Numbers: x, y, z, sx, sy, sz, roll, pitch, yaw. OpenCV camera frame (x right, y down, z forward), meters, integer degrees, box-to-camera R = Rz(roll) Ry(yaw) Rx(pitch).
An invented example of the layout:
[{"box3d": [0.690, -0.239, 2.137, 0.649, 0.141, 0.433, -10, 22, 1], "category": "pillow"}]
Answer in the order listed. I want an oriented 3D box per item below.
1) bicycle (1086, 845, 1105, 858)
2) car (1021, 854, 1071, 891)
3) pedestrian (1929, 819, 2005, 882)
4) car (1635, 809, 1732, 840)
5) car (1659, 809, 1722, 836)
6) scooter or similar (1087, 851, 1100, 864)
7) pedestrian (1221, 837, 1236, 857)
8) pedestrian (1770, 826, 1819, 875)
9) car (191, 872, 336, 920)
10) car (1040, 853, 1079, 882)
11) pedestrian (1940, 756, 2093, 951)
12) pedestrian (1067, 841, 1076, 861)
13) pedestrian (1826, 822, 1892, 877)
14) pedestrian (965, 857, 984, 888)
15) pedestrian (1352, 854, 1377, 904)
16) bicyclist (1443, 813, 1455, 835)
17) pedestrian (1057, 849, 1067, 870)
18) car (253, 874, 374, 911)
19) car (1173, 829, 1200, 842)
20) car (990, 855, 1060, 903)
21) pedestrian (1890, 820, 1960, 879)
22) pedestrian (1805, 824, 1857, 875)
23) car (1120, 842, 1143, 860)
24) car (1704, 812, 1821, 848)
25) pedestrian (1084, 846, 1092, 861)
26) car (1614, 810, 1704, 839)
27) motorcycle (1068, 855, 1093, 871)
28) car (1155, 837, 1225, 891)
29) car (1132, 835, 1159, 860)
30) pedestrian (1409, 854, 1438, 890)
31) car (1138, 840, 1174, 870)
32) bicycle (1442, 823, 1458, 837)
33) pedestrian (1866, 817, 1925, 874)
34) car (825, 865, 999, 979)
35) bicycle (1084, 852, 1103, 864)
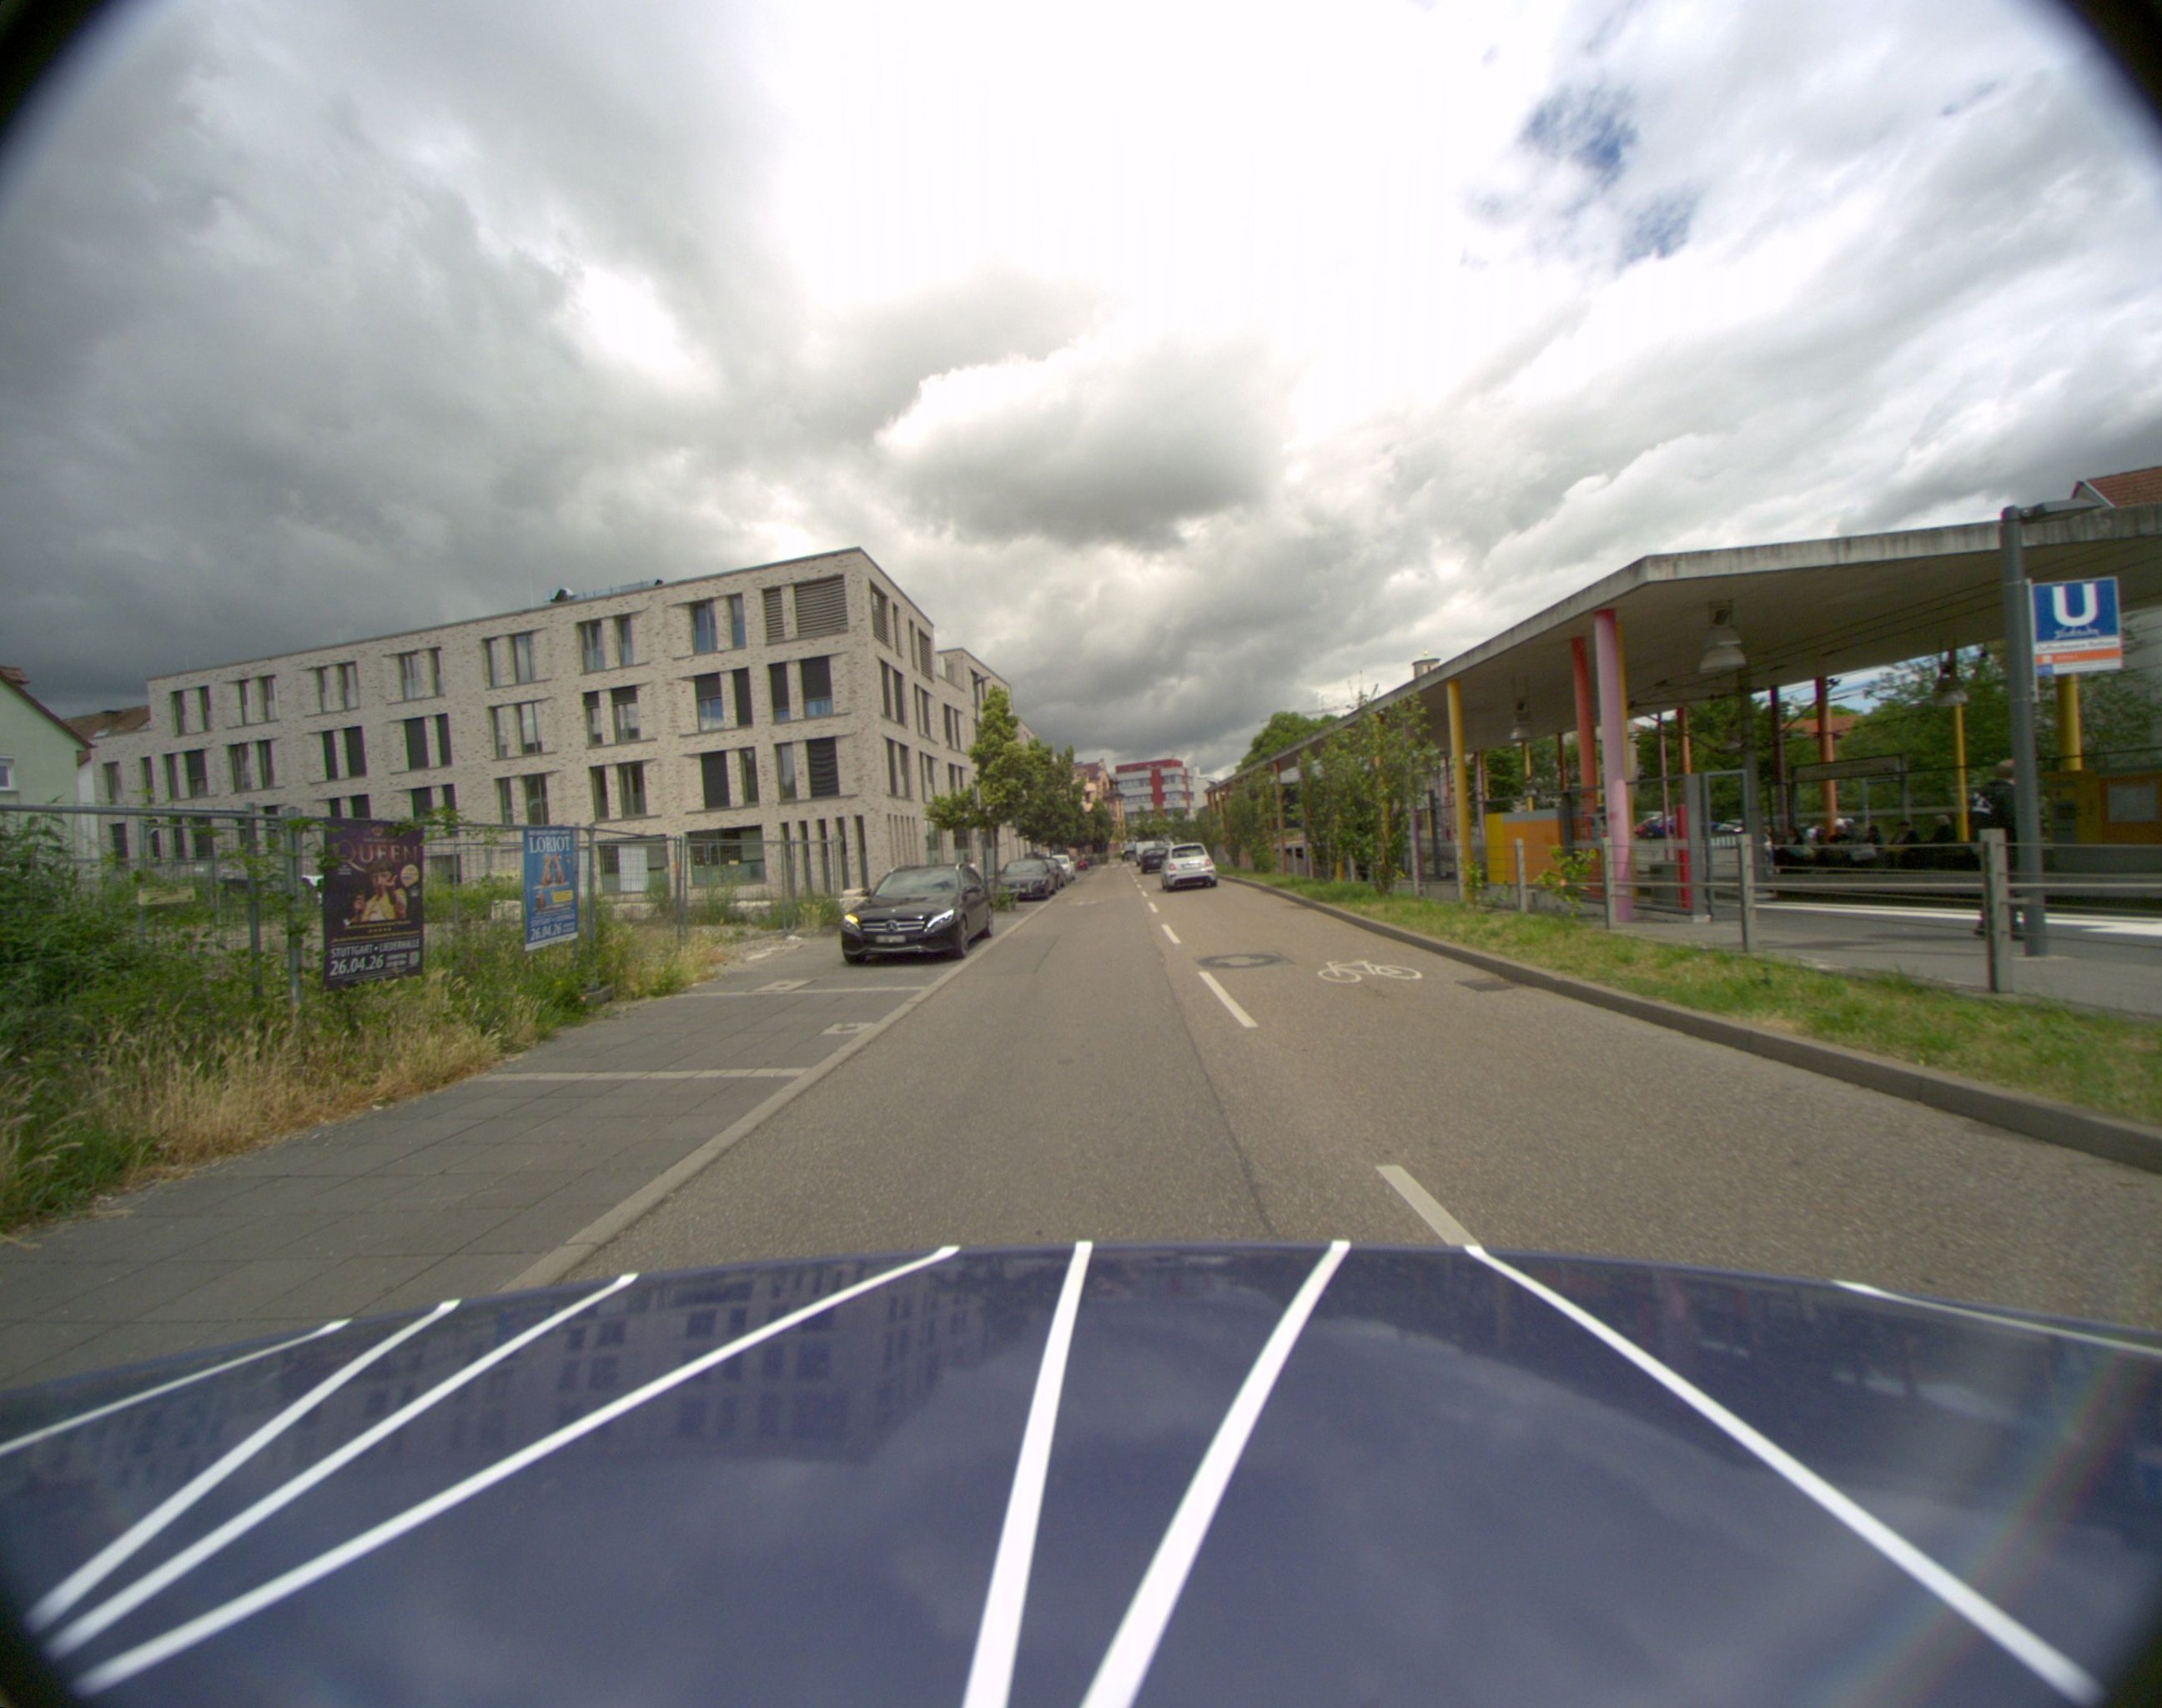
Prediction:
[{"box3d": [1.485, -0.263, 79.875, 1.826, 1.194, 0.756, -3, 2, 10], "category": "bicycle"}, {"box3d": [-1.536, 0.780, 34.584, 1.696, 1.452, 4.147, -3, 0, 5], "category": "car"}, {"box3d": [20.706, -0.066, 17.768, 0.824, 1.371, 0.702, -6, 0, 4], "category": "pedestrian"}, {"box3d": [34.575, -1.713, 43.710, 3.992, 1.393, 1.571, -5, 2, 18], "category": "car"}, {"box3d": [42.048, -2.218, 52.501, 1.911, 1.566, 4.002, -5, 2, 16], "category": "car"}, {"box3d": [1.226, 0.320, 76.893, 1.198, 1.243, 0.494, -3, 2, 10], "category": "scooter or similar"}, {"box3d": [11.912, -0.556, 61.295, 0.929, 1.556, 0.815, -6, 3, 1], "category": "pedestrian"}, {"box3d": [21.281, -0.101, 22.665, 0.687, 1.371, 0.705, -6, 0, 4], "category": "pedestrian"}, {"box3d": [-29.750, 1.516, 27.677, 4.252, 1.596, 1.871, -1, 0, 17], "category": "car"}, {"box3d": [-1.191, 0.751, 43.669, 1.696, 1.475, 3.798, -3, 0, 5], "category": "car"}, {"box3d": [9.389, 0.005, 7.671, 0.782, 1.834, 0.737, -6, -1, 45], "category": "pedestrian"}, {"box3d": [-0.828, -0.270, 66.307, 0.623, 1.757, 0.737, -4, 2, -1], "category": "pedestrian"}, {"box3d": [20.930, -0.115, 20.449, 0.929, 1.371, 0.702, -6, 0, 4], "category": "pedestrian"}, {"box3d": [-5.169, 0.889, 36.984, 0.608, 1.464, 0.791, -3, 1, 11], "category": "pedestrian"}, {"box3d": [10.801, 0.942, 28.974, 0.588, 1.820, 0.710, -5, 3, 5], "category": "pedestrian"}, {"box3d": [27.664, -2.238, 57.105, 0.485, 1.584, 0.681, -5, 3, 6], "category": "bicyclist"}, {"box3d": [-1.705, 0.487, 67.094, 0.757, 1.757, 0.734, -4, 2, -3], "category": "pedestrian"}, {"box3d": [-34.074, 1.697, 33.759, 4.253, 1.596, 1.872, -1, -2, 15], "category": "car"}, {"box3d": [17.115, -2.997, 123.448, 4.005, 1.653, 1.839, -7, 3, -35], "category": "car"}, {"box3d": [-1.903, 0.843, 27.406, 1.869, 1.442, 4.644, -3, 0, 3], "category": "car"}, {"box3d": [20.843, -0.109, 18.781, 0.824, 1.371, 0.702, -6, 0, 4], "category": "pedestrian"}, {"box3d": [21.286, -0.123, 21.581, 0.653, 1.371, 0.702, -6, 0, 4], "category": "pedestrian"}, {"box3d": [5.644, -0.352, 84.872, 1.802, 1.571, 4.002, -5, 2, 13], "category": "car"}, {"box3d": [33.553, -1.193, 37.525, 3.992, 1.330, 1.571, -5, 2, 18], "category": "car"}, {"box3d": [0.824, -0.038, 89.389, 0.659, 1.732, 1.018, -4, 1, 9], "category": "pedestrian"}, {"box3d": [35.261, -1.799, 46.474, 3.992, 1.330, 1.727, -5, 2, 18], "category": "car"}, {"box3d": [-0.045, 0.777, 64.900, 2.052, 1.259, 0.673, -2, 2, 21], "category": "motorcycle"}, {"box3d": [3.584, 0.298, 25.663, 1.775, 1.499, 4.000, -6, 0, 2], "category": "car"}, {"box3d": [5.462, -0.578, 64.595, 2.008, 1.906, 5.065, -6, 1, 5], "category": "car"}, {"box3d": [10.592, 0.554, 23.506, 0.566, 1.076, 0.484, -6, 0, 2], "category": "pedestrian"}, {"box3d": [4.437, 0.019, 45.513, 1.729, 1.512, 4.255, -6, 1, 3], "category": "car"}, {"box3d": [27.708, -1.806, 57.116, 0.485, 0.957, 1.612, -5, 2, 6], "category": "bicycle"}, {"box3d": [20.949, -0.212, 19.553, 0.653, 1.371, 0.702, -6, 0, 4], "category": "pedestrian"}, {"box3d": [-2.607, 0.986, 12.874, 1.786, 1.443, 4.476, -3, 0, 1], "category": "car"}, {"box3d": [1.294, 0.429, 79.030, 1.826, 1.125, 0.756, -3, 2, 10], "category": "bicycle"}]
